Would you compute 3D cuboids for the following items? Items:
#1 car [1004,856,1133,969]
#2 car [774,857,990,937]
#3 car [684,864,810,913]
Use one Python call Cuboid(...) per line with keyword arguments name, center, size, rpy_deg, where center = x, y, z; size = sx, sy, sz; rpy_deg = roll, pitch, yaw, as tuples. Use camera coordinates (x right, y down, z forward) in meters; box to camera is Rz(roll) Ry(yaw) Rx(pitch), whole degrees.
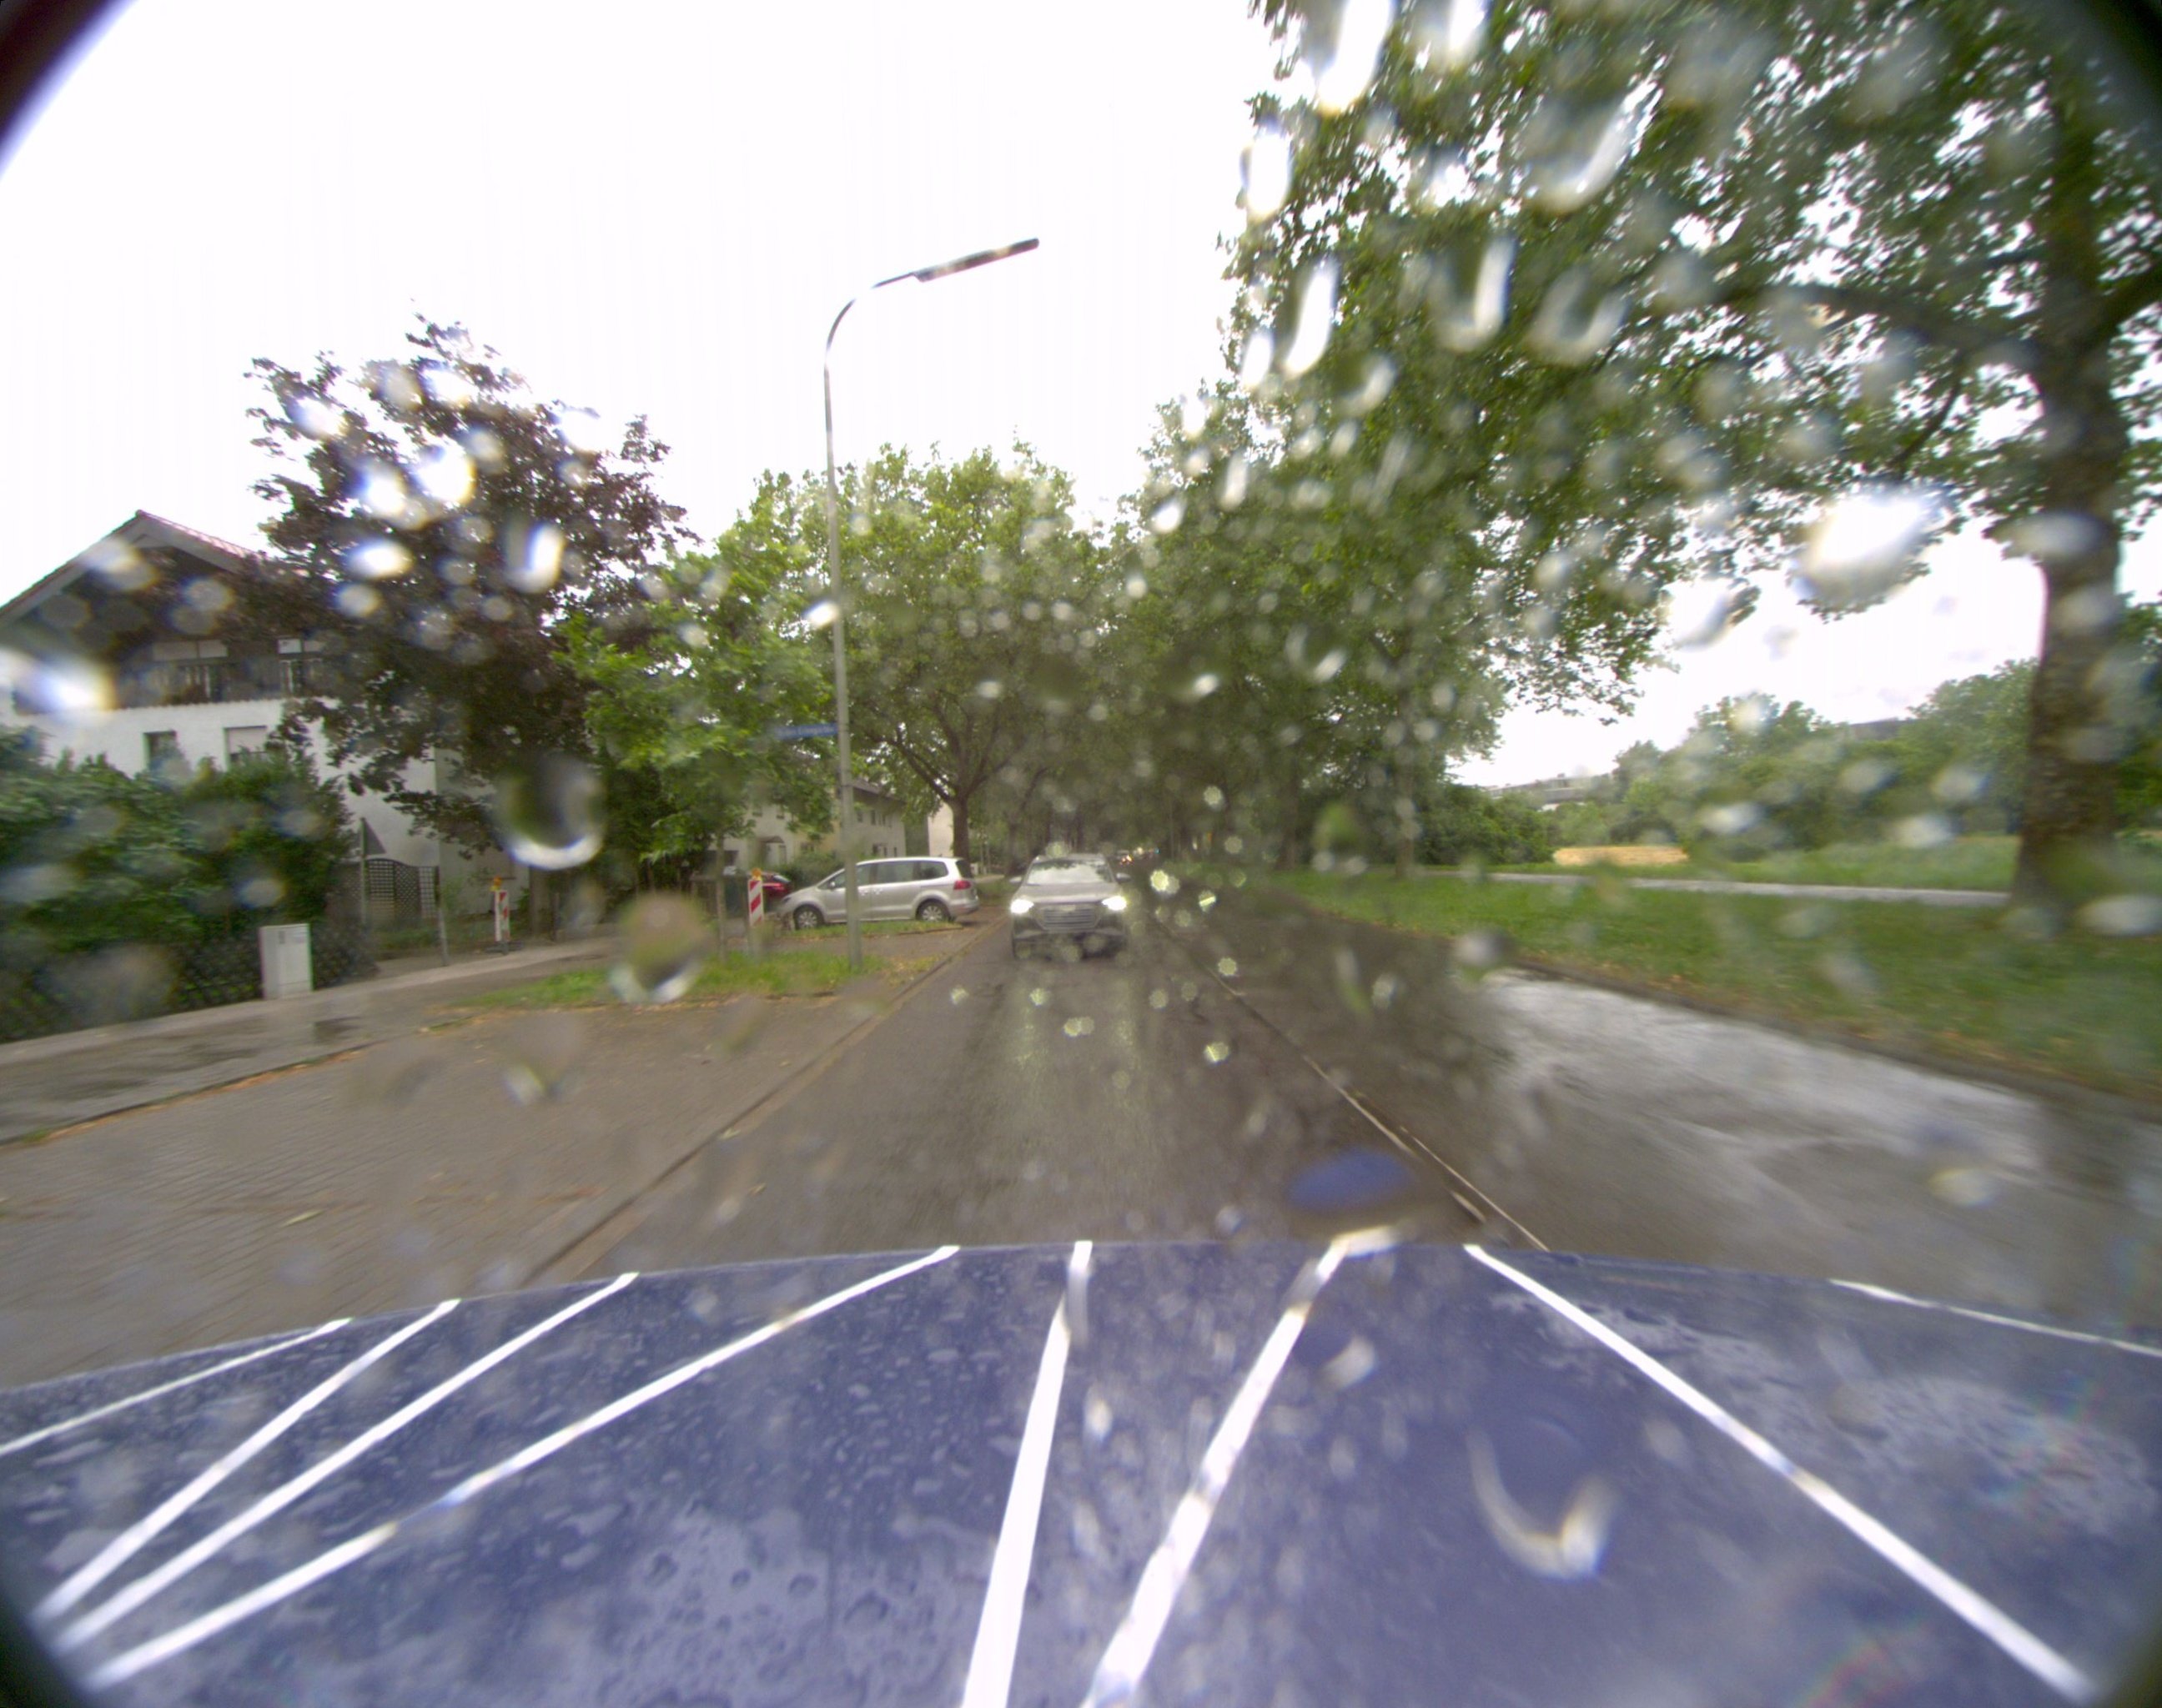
Cuboid(name="car", center=(-0.145, 0.878, 13.574), size=(1.862, 1.608, 4.424), rpy_deg=(-2, 0, 1))
Cuboid(name="car", center=(-4.731, 1.001, 18.586), size=(4.701, 1.651, 1.976), rpy_deg=(-2, 0, -1))
Cuboid(name="car", center=(-12.527, 1.280, 28.621), size=(3.853, 1.603, 1.843), rpy_deg=(-2, 0, 3))
